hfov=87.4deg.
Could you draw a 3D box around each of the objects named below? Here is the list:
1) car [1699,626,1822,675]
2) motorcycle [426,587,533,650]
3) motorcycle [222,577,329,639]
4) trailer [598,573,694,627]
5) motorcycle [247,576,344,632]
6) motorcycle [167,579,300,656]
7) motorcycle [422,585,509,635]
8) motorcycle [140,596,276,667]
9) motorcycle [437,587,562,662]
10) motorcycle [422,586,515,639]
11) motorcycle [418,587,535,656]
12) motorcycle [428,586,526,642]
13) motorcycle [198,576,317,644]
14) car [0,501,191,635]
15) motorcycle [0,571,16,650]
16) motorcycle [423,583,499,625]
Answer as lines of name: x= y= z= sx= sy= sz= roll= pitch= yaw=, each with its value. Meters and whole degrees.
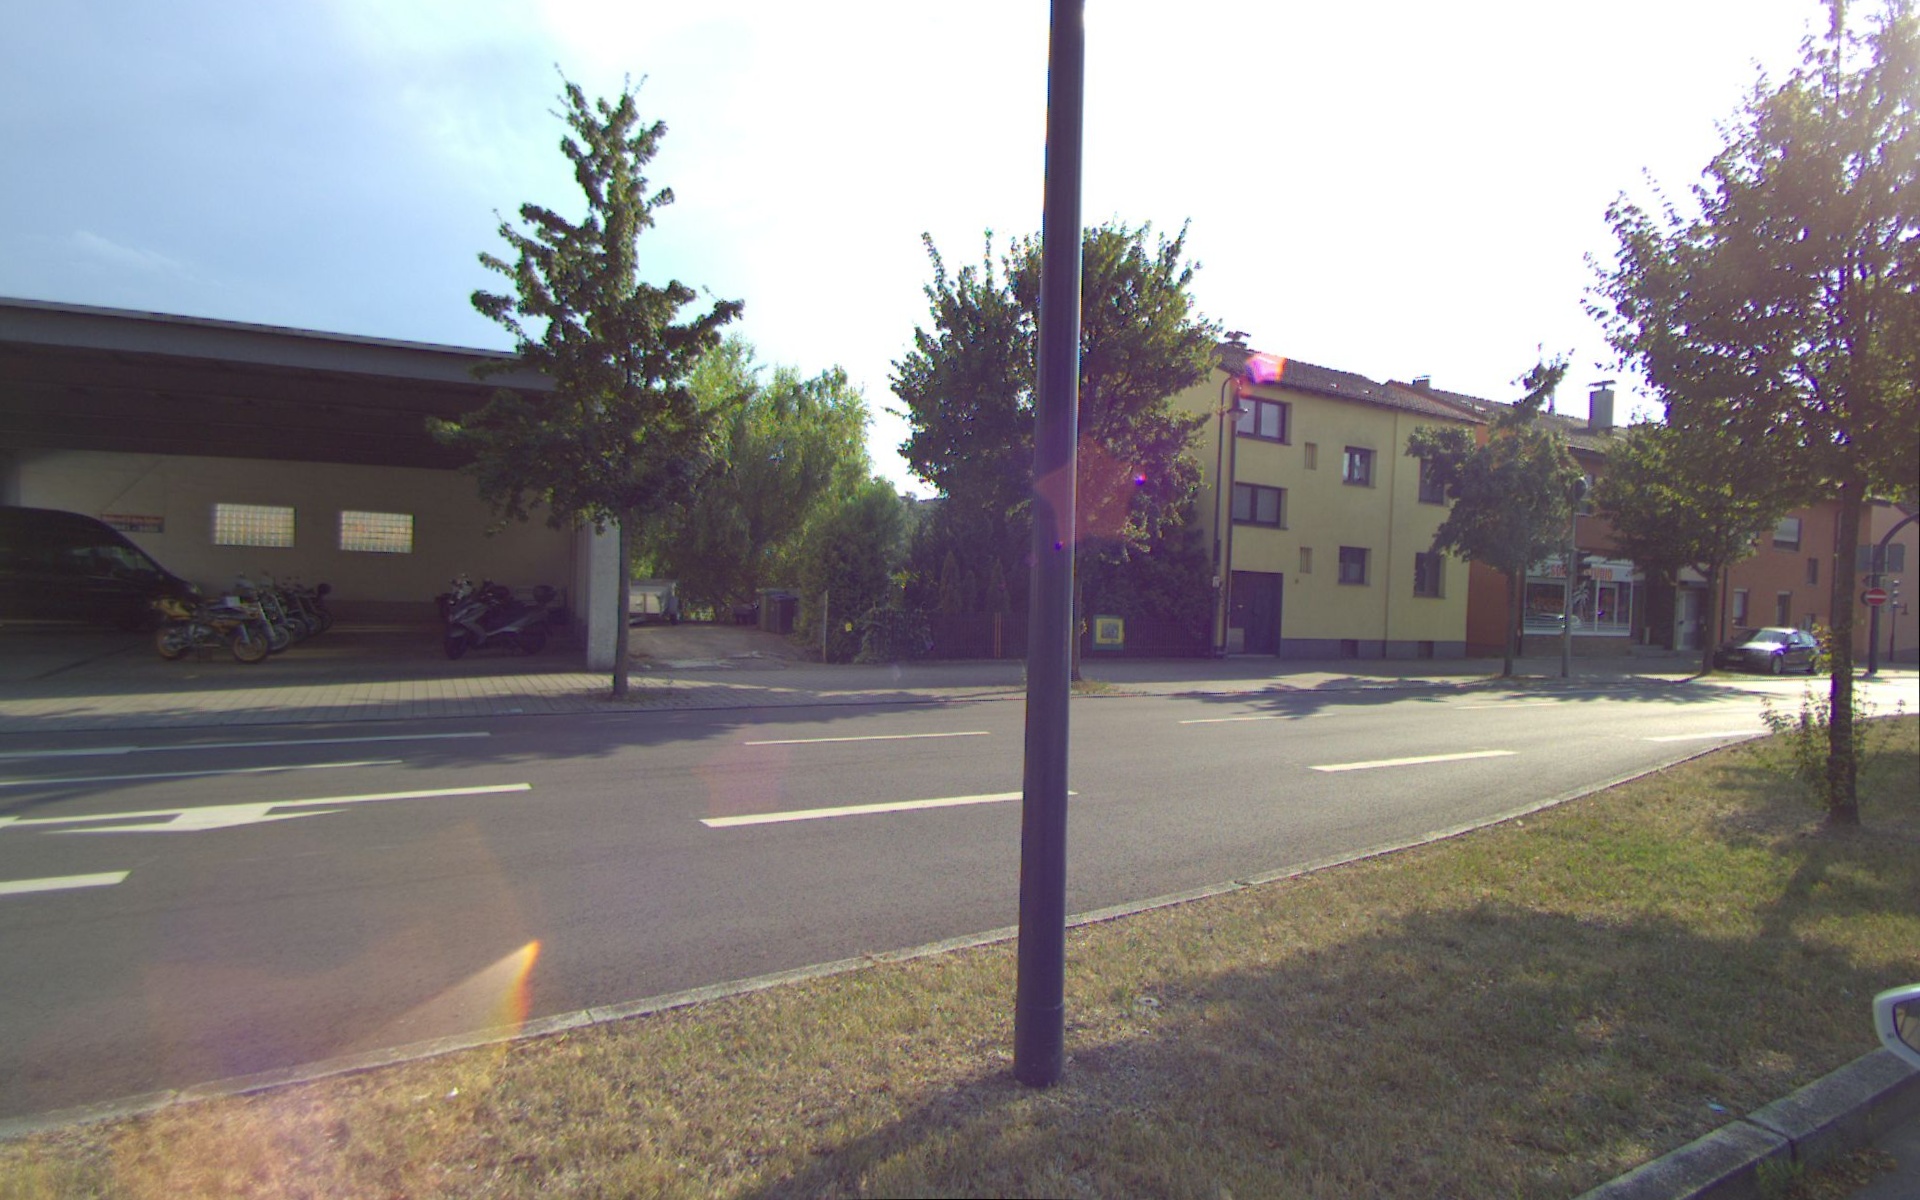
car: x=25.967 y=1.597 z=32.556 sx=3.953 sy=1.319 sz=1.728 roll=1 pitch=4 yaw=-30
motorcycle: x=-10.744 y=0.384 z=22.537 sx=0.621 sy=1.314 sz=2.113 roll=1 pitch=2 yaw=36
motorcycle: x=-15.886 y=0.181 z=23.313 sx=2.219 sy=1.354 sz=0.631 roll=1 pitch=0 yaw=10
trailer: x=-8.219 y=-0.006 z=26.617 sx=1.698 sy=1.280 sz=3.995 roll=1 pitch=0 yaw=-7
motorcycle: x=-16.911 y=0.102 z=25.572 sx=2.219 sy=1.354 sz=0.631 roll=1 pitch=0 yaw=10
motorcycle: x=-13.633 y=0.319 z=18.861 sx=2.219 sy=1.354 sz=0.631 roll=1 pitch=0 yaw=10
motorcycle: x=-13.515 y=0.240 z=27.518 sx=0.621 sy=1.314 sz=2.113 roll=1 pitch=2 yaw=36
motorcycle: x=-12.498 y=0.503 z=16.697 sx=1.993 sy=1.101 sz=0.631 roll=1 pitch=0 yaw=12
motorcycle: x=-8.620 y=0.430 z=18.897 sx=0.621 sy=1.314 sz=2.113 roll=1 pitch=2 yaw=36
motorcycle: x=-12.650 y=0.292 z=25.920 sx=0.621 sy=1.314 sz=2.113 roll=1 pitch=2 yaw=36
motorcycle: x=-9.814 y=0.402 z=20.459 sx=0.621 sy=1.314 sz=2.113 roll=1 pitch=2 yaw=36
motorcycle: x=-11.768 y=0.312 z=24.537 sx=0.621 sy=1.314 sz=2.113 roll=1 pitch=2 yaw=36
motorcycle: x=-14.754 y=0.205 z=21.104 sx=2.219 sy=1.354 sz=0.631 roll=1 pitch=0 yaw=10
car: x=-20.454 y=-0.682 z=22.091 sx=1.962 sy=2.789 sz=5.280 roll=1 pitch=0 yaw=26
motorcycle: x=-17.288 y=0.169 z=16.724 sx=0.619 sy=1.380 sz=2.225 roll=1 pitch=0 yaw=24
motorcycle: x=-15.961 y=0.101 z=32.176 sx=0.621 sy=1.314 sz=2.113 roll=1 pitch=2 yaw=36
